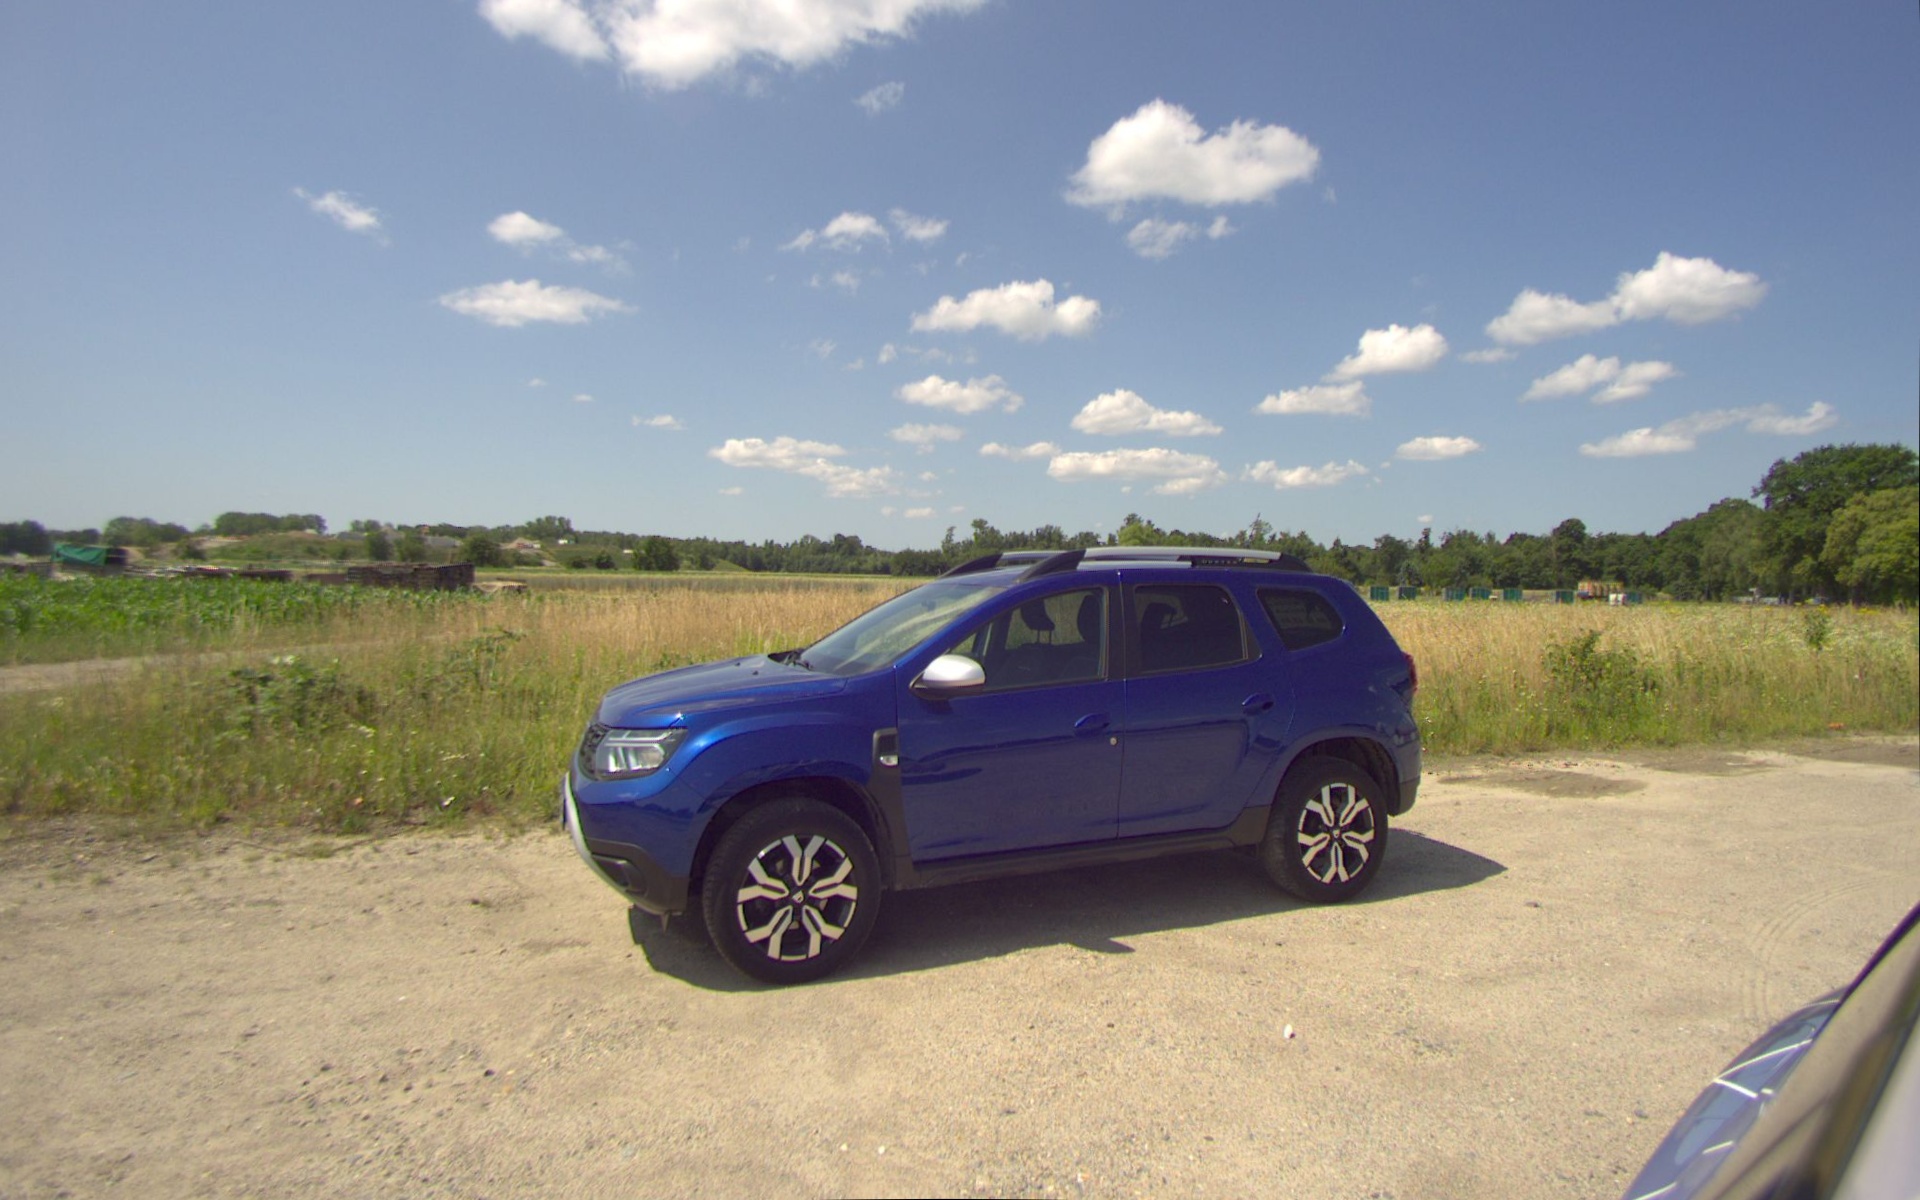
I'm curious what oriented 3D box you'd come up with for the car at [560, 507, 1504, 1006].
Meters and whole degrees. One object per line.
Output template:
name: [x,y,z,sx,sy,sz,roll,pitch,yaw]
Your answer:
car: [0.340,0.498,5.094,4.365,1.682,1.868,0,1,-22]
